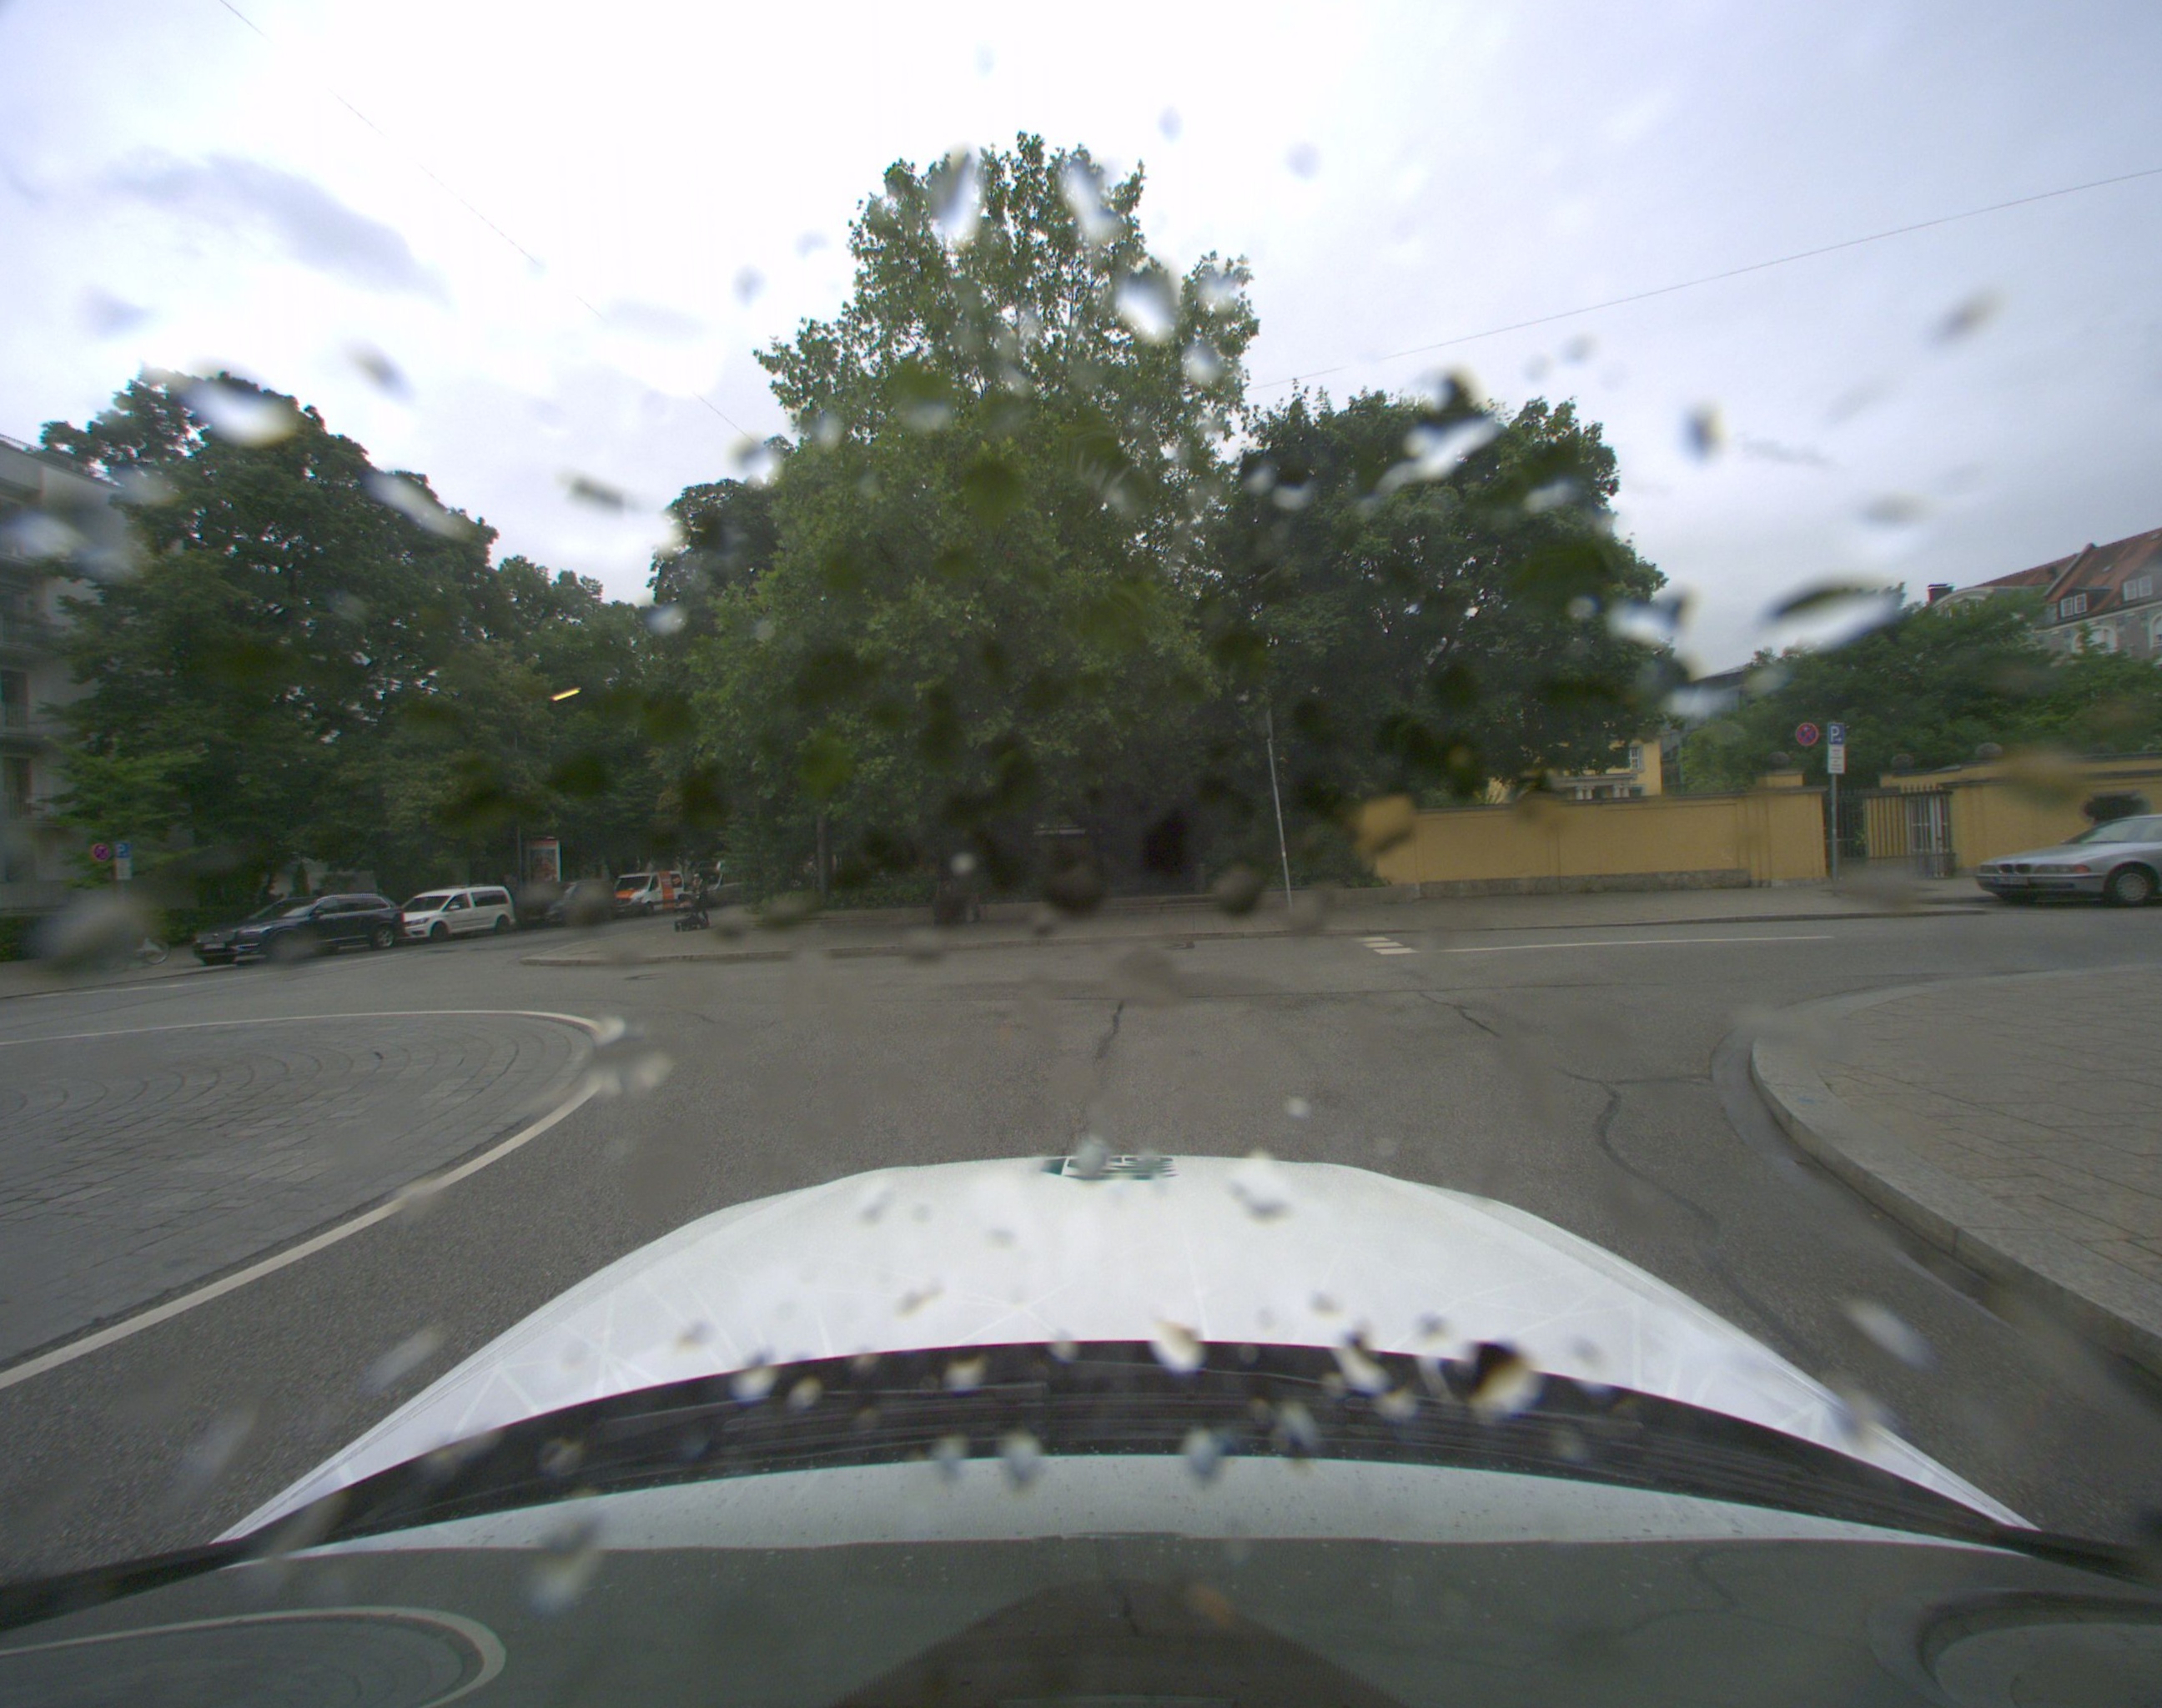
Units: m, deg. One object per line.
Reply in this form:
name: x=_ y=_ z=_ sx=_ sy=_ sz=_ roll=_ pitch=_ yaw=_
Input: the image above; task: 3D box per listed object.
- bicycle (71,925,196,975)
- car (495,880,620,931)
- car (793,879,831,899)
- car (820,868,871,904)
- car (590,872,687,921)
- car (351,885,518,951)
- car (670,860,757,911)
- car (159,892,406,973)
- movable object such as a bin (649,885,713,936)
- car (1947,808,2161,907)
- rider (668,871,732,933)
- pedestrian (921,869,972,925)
bicycle: x=-24.692 y=2.471 z=21.284 sx=0.907 sy=1.051 sz=1.972 roll=-3 pitch=-1 yaw=1
car: x=-22.407 y=2.135 z=35.171 sx=2.058 sy=1.859 sz=4.986 roll=-3 pitch=-1 yaw=0
car: x=-23.490 y=3.033 z=71.203 sx=1.890 sy=1.571 sz=4.072 roll=-3 pitch=-1 yaw=-1
car: x=-14.133 y=1.868 z=49.137 sx=2.038 sy=1.922 sz=4.437 roll=-3 pitch=-1 yaw=-5
car: x=-22.877 y=2.134 z=42.374 sx=2.104 sy=2.251 sz=5.195 roll=-3 pitch=-1 yaw=0
car: x=-22.404 y=2.136 z=28.532 sx=1.920 sy=1.895 sz=4.865 roll=-3 pitch=-1 yaw=-1
car: x=-23.189 y=1.892 z=51.757 sx=2.327 sy=2.922 sz=6.578 roll=-3 pitch=-1 yaw=0
car: x=-22.272 y=2.100 z=23.092 sx=2.058 sy=1.767 sz=4.907 roll=-3 pitch=-1 yaw=0
movable object such as a bin: x=-11.339 y=1.596 z=23.107 sx=1.070 sy=1.267 sz=1.090 roll=-6 pitch=-1 yaw=13
car: x=17.299 y=-0.027 z=13.095 sx=4.536 sy=1.402 sz=1.828 roll=-3 pitch=0 yaw=4
rider: x=-11.167 y=1.393 z=23.912 sx=1.075 sy=1.667 sz=1.143 roll=-6 pitch=-1 yaw=13
pedestrian: x=-3.061 y=0.972 z=18.606 sx=0.806 sy=1.189 sz=0.922 roll=-3 pitch=-1 yaw=11
